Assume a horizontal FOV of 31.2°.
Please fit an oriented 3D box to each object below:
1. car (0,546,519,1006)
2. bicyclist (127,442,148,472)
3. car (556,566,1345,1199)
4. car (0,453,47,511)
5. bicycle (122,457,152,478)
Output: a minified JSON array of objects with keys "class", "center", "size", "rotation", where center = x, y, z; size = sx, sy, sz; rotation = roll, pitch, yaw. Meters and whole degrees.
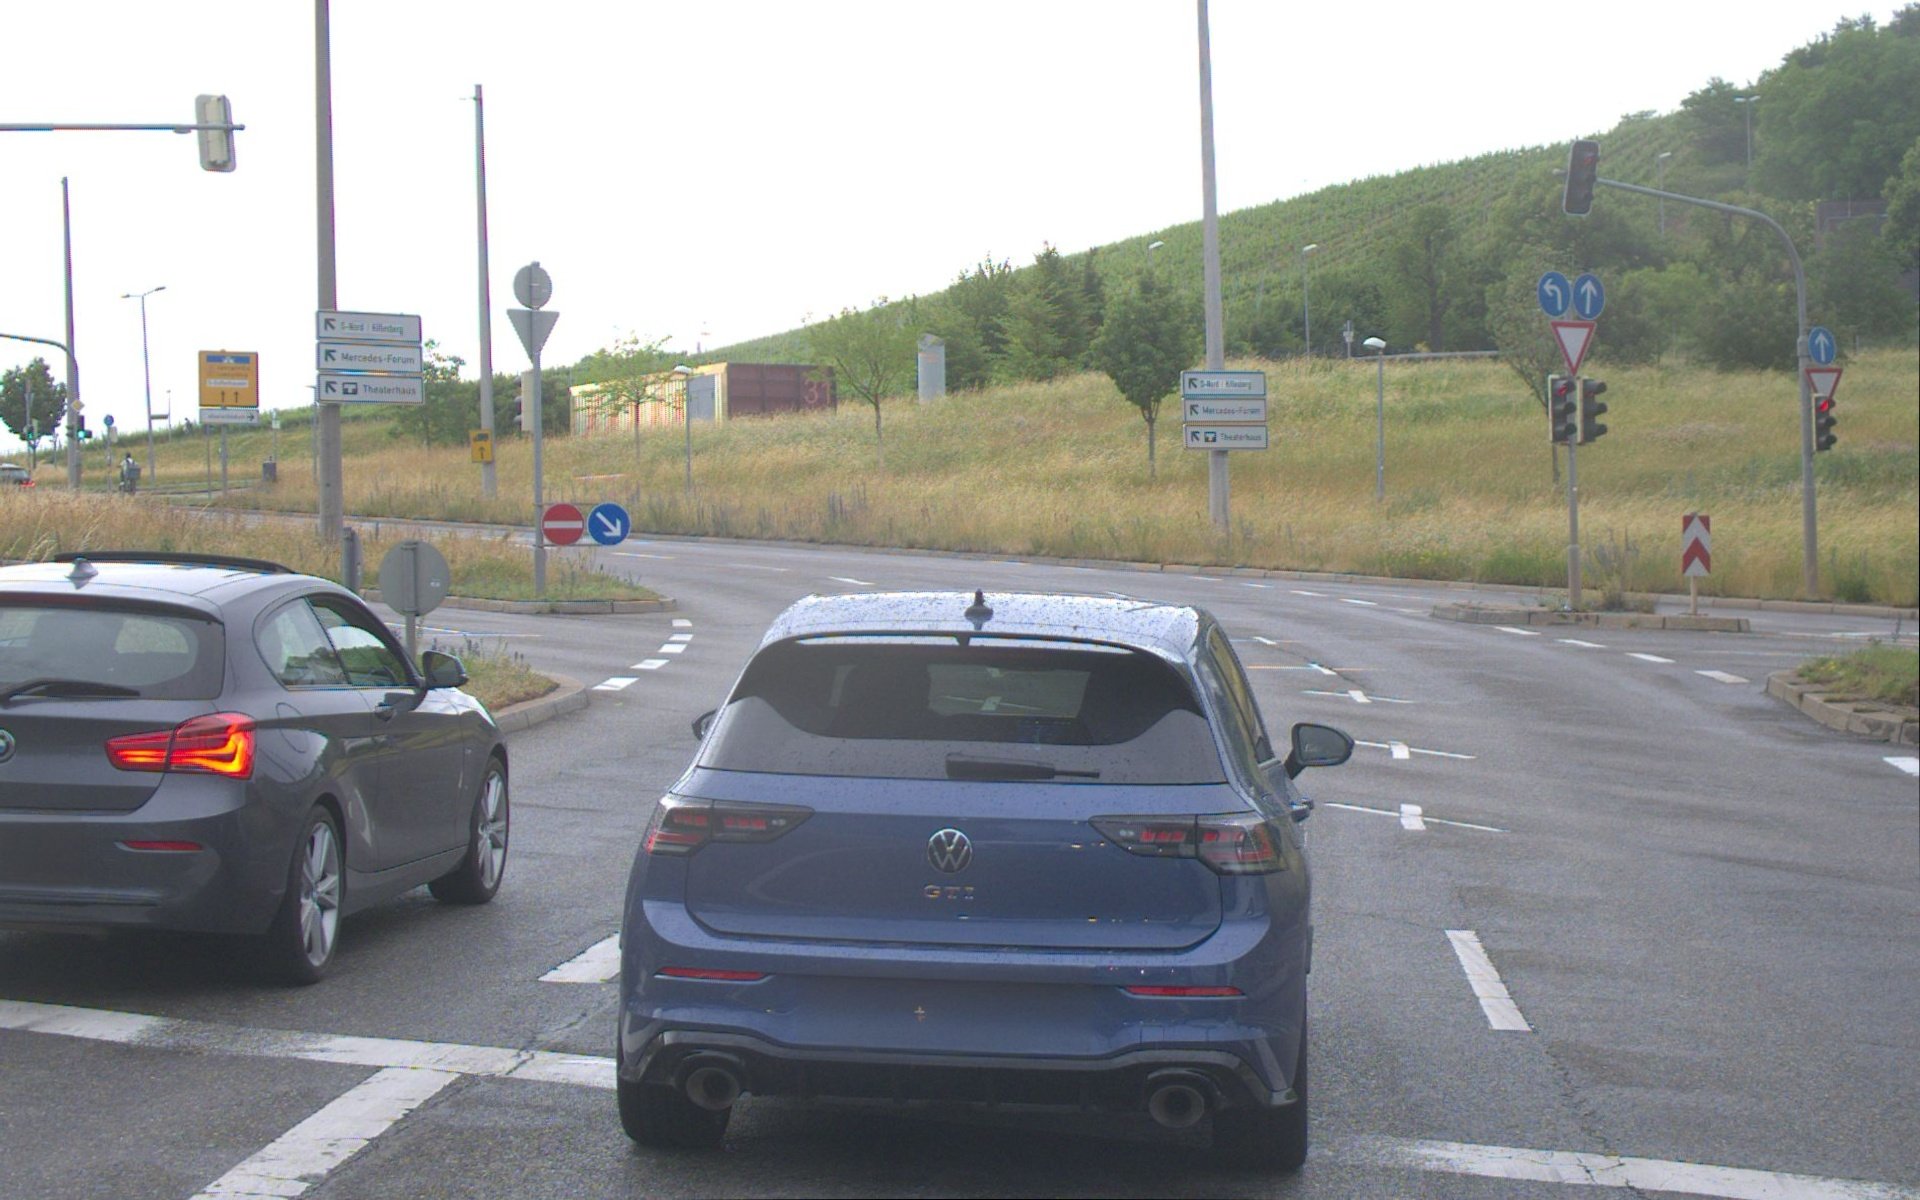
[{"class":"car","center":[-2.944,0.531,12.987],"size":[1.703,1.455,4.114],"rotation":[0,1,5]},{"class":"bicyclist","center":[-29.879,-5.202,124.898],"size":[0.523,1.043,0.580],"rotation":[3,0,-34]},{"class":"car","center":[0.119,0.638,9.853],"size":[1.825,1.455,3.808],"rotation":[0,0,5]},{"class":"car","center":[-28.479,-3.473,100.862],"size":[1.993,1.612,4.852],"rotation":[1,1,-31]},{"class":"bicycle","center":[-29.884,-4.815,124.868],"size":[0.518,0.772,1.621],"rotation":[1,1,-34]}]
